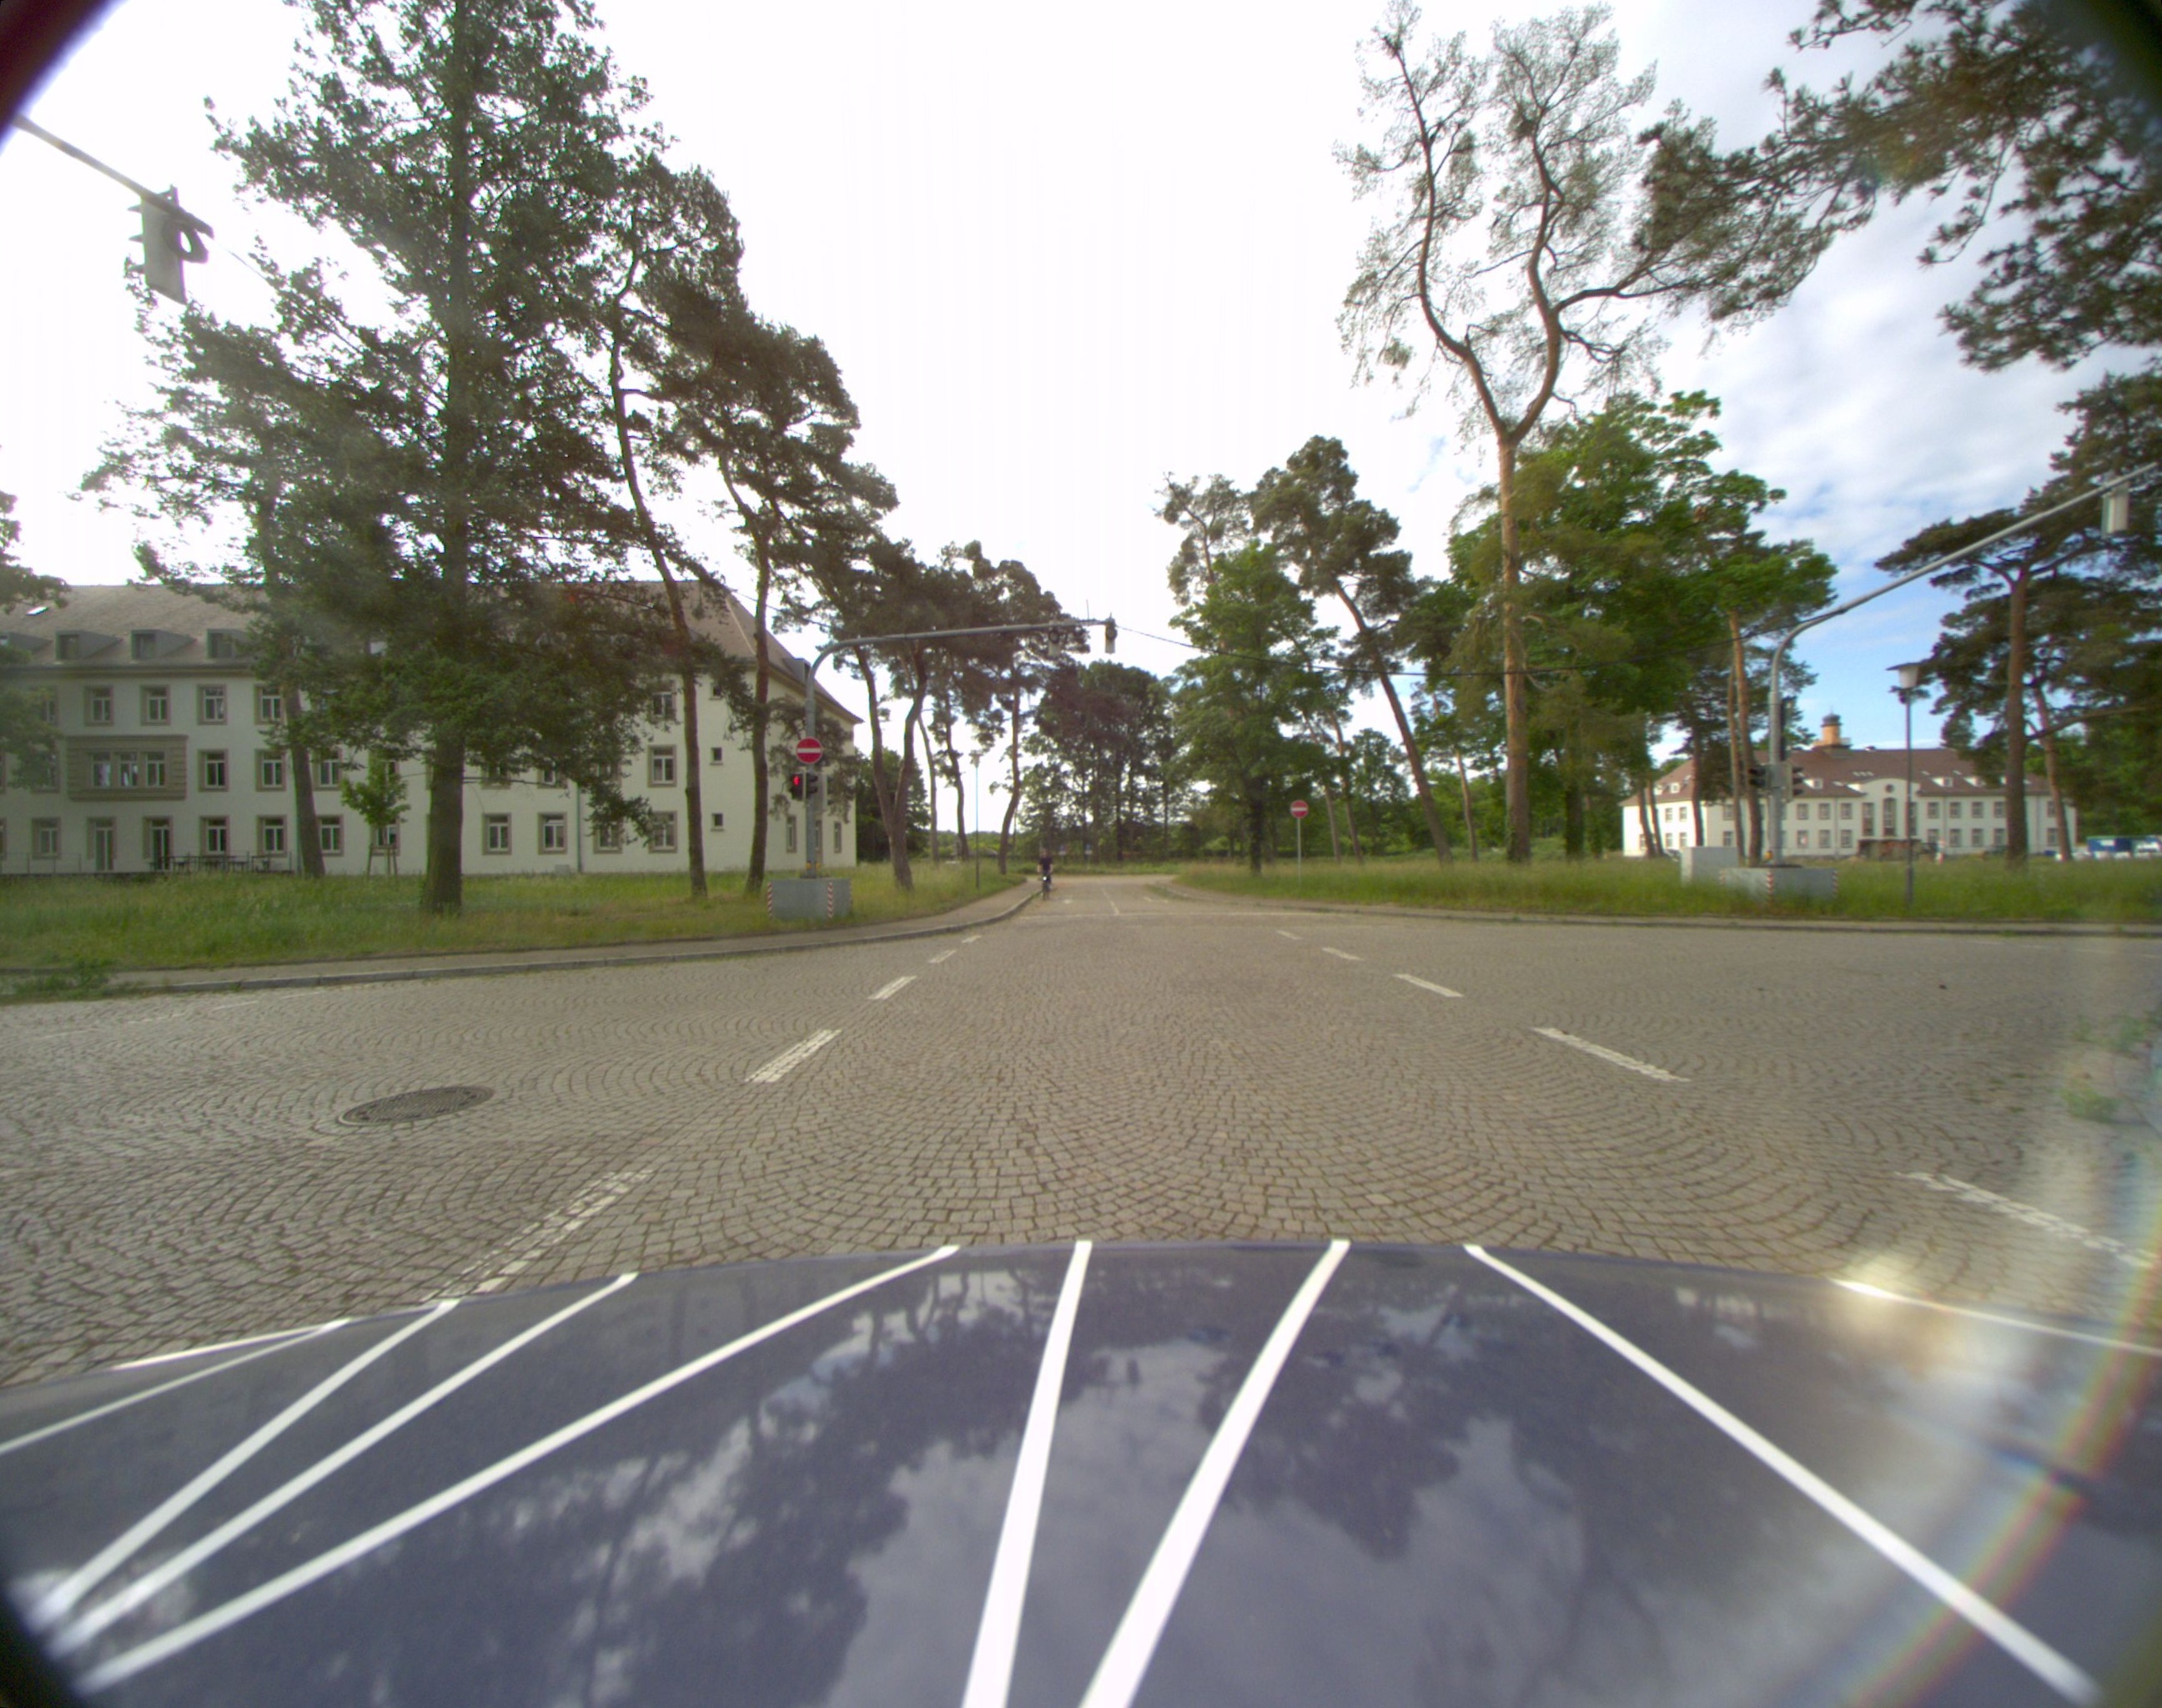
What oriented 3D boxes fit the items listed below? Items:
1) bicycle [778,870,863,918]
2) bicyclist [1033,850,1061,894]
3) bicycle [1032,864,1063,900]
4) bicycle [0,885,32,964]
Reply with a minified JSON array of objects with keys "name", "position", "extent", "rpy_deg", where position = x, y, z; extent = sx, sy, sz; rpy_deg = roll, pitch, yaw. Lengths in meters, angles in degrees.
[{"name":"bicycle","position":[-6.299,0.958,18.438],"extent":[1.837,1.079,0.572],"rpy_deg":[-1,2,-2]},{"name":"bicyclist","position":[-1.291,0.678,28.895],"extent":[0.963,1.626,0.918],"rpy_deg":[-1,1,2]},{"name":"bicycle","position":[-1.266,1.060,29.098],"extent":[0.963,1.268,2.164],"rpy_deg":[-1,0,3]},{"name":"bicycle","position":[-18.618,1.200,12.297],"extent":[0.572,1.324,1.839],"rpy_deg":[-1,0,8]}]
